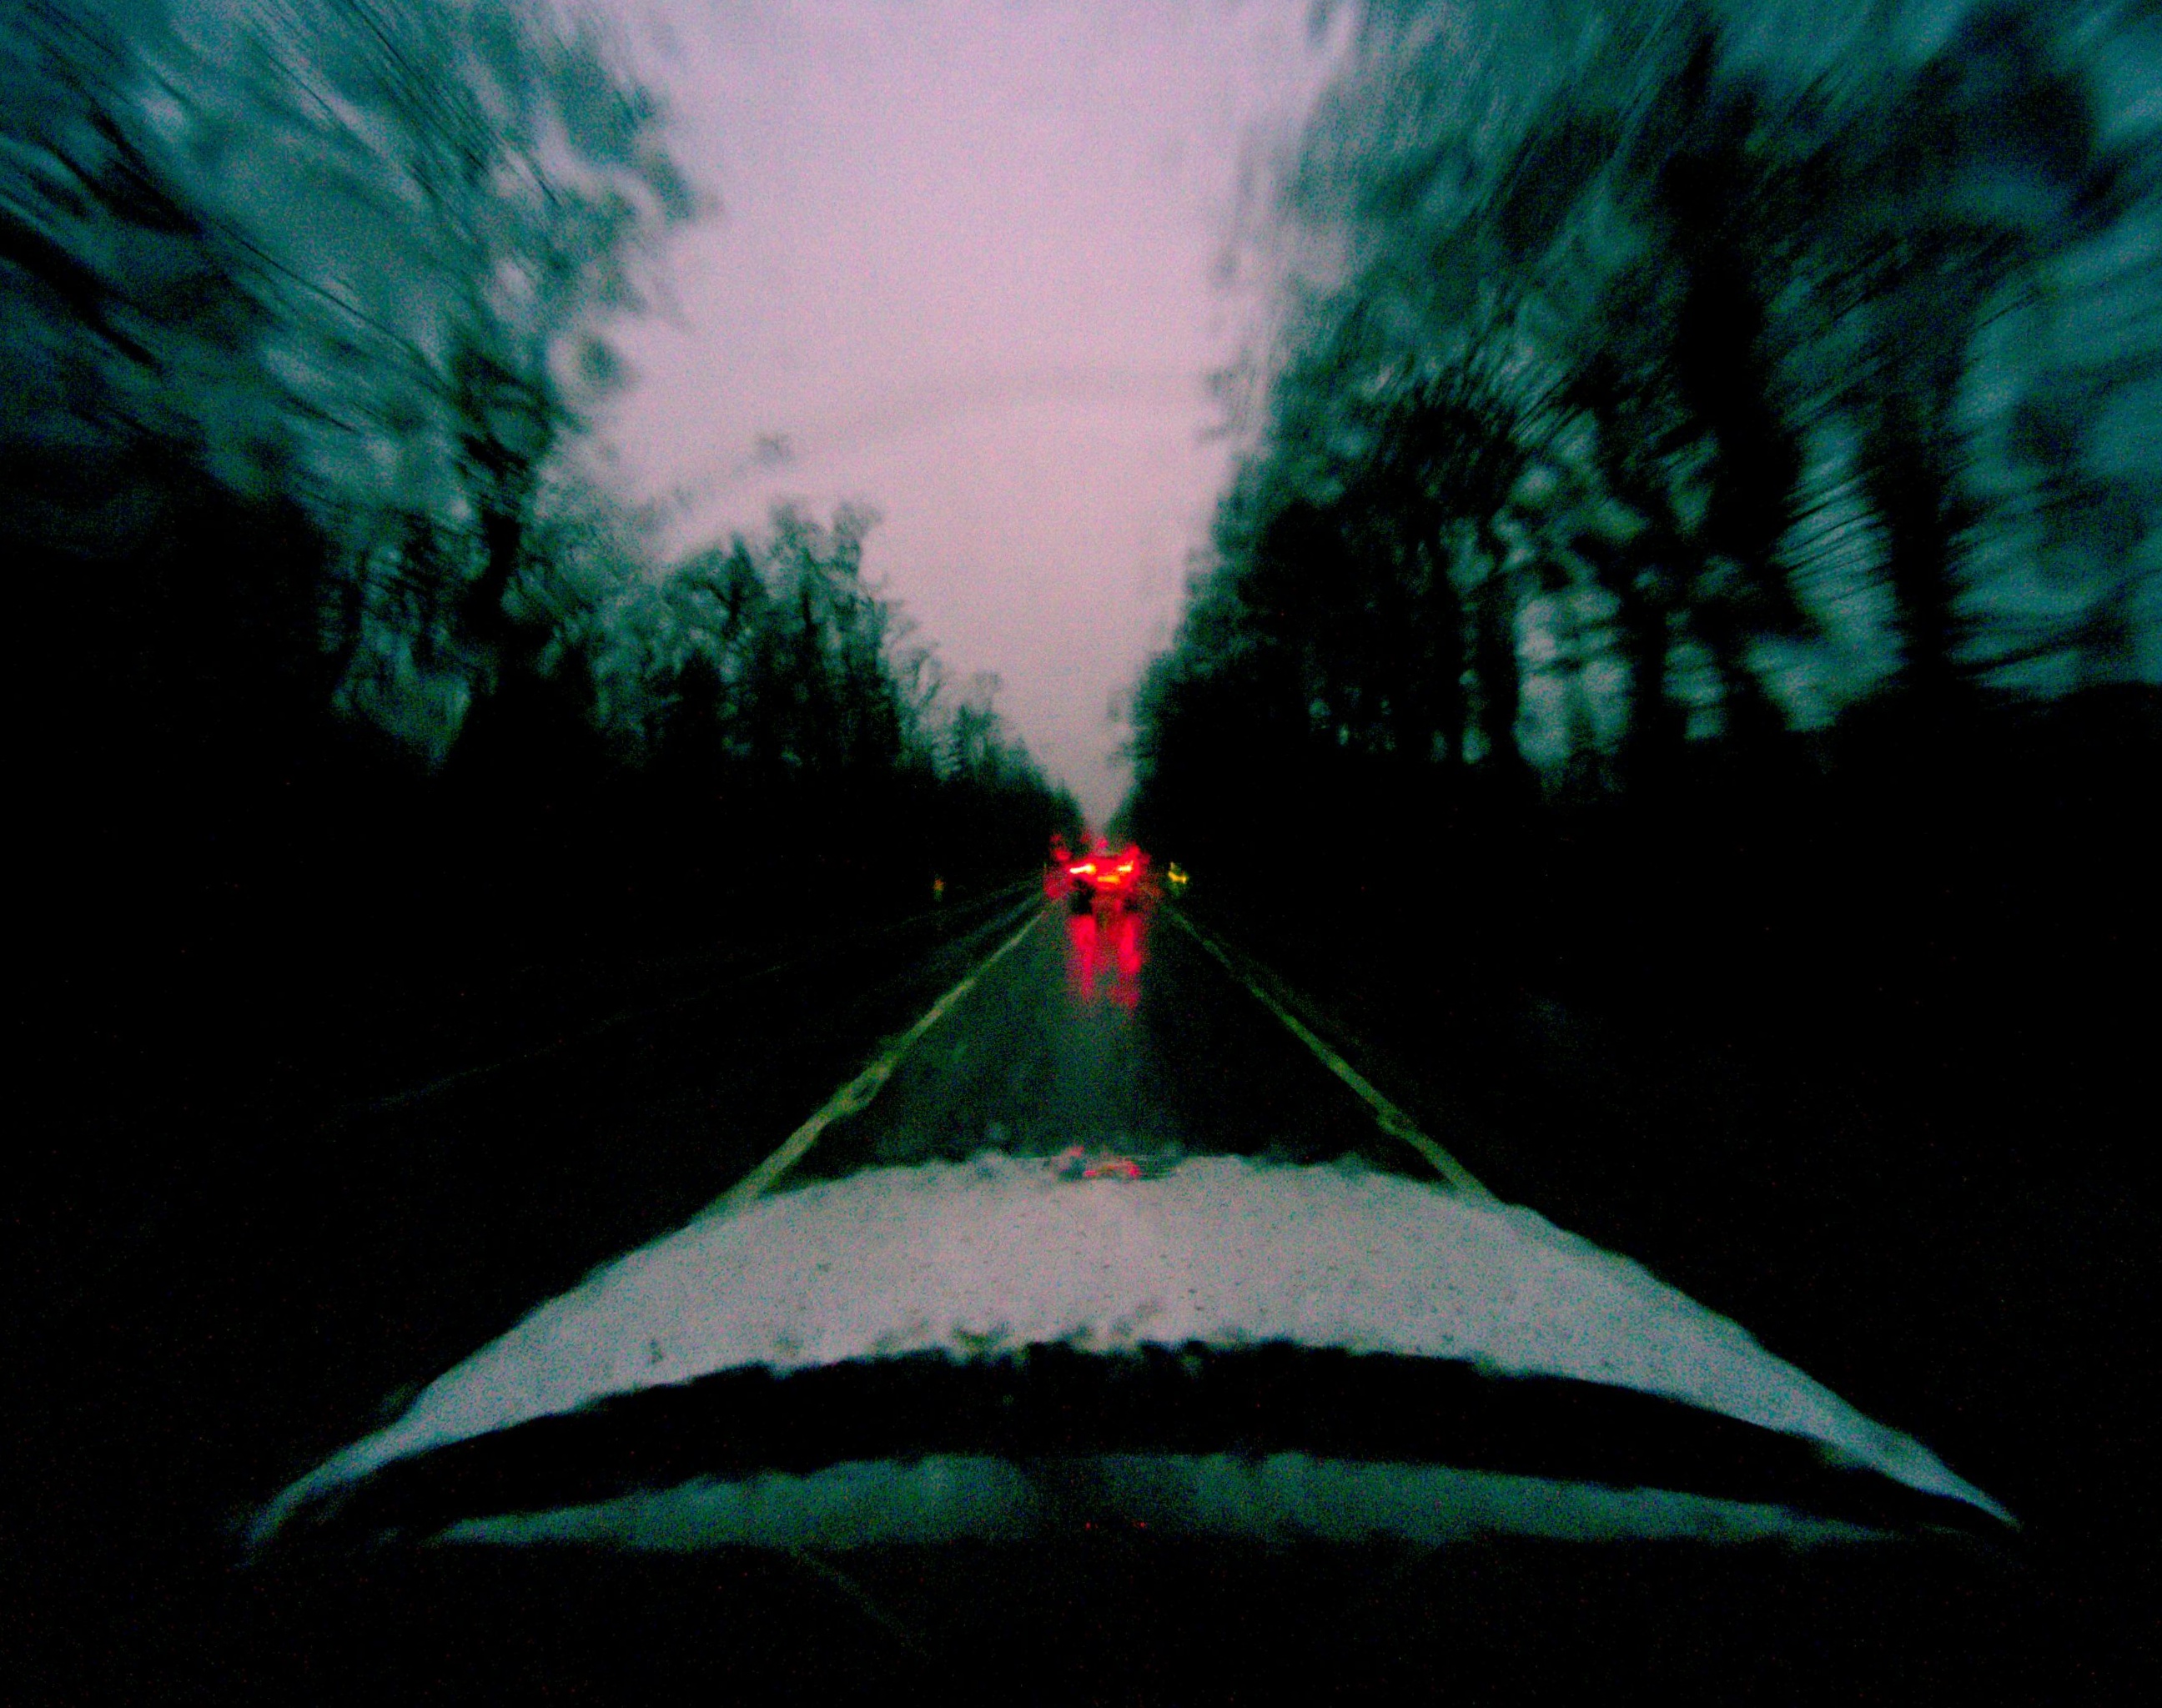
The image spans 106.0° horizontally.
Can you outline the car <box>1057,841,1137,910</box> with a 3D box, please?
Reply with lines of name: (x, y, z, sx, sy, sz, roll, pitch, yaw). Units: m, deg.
car: (0.494, 0.597, 24.854, 2.190, 1.877, 4.828, 0, 0, 1)
